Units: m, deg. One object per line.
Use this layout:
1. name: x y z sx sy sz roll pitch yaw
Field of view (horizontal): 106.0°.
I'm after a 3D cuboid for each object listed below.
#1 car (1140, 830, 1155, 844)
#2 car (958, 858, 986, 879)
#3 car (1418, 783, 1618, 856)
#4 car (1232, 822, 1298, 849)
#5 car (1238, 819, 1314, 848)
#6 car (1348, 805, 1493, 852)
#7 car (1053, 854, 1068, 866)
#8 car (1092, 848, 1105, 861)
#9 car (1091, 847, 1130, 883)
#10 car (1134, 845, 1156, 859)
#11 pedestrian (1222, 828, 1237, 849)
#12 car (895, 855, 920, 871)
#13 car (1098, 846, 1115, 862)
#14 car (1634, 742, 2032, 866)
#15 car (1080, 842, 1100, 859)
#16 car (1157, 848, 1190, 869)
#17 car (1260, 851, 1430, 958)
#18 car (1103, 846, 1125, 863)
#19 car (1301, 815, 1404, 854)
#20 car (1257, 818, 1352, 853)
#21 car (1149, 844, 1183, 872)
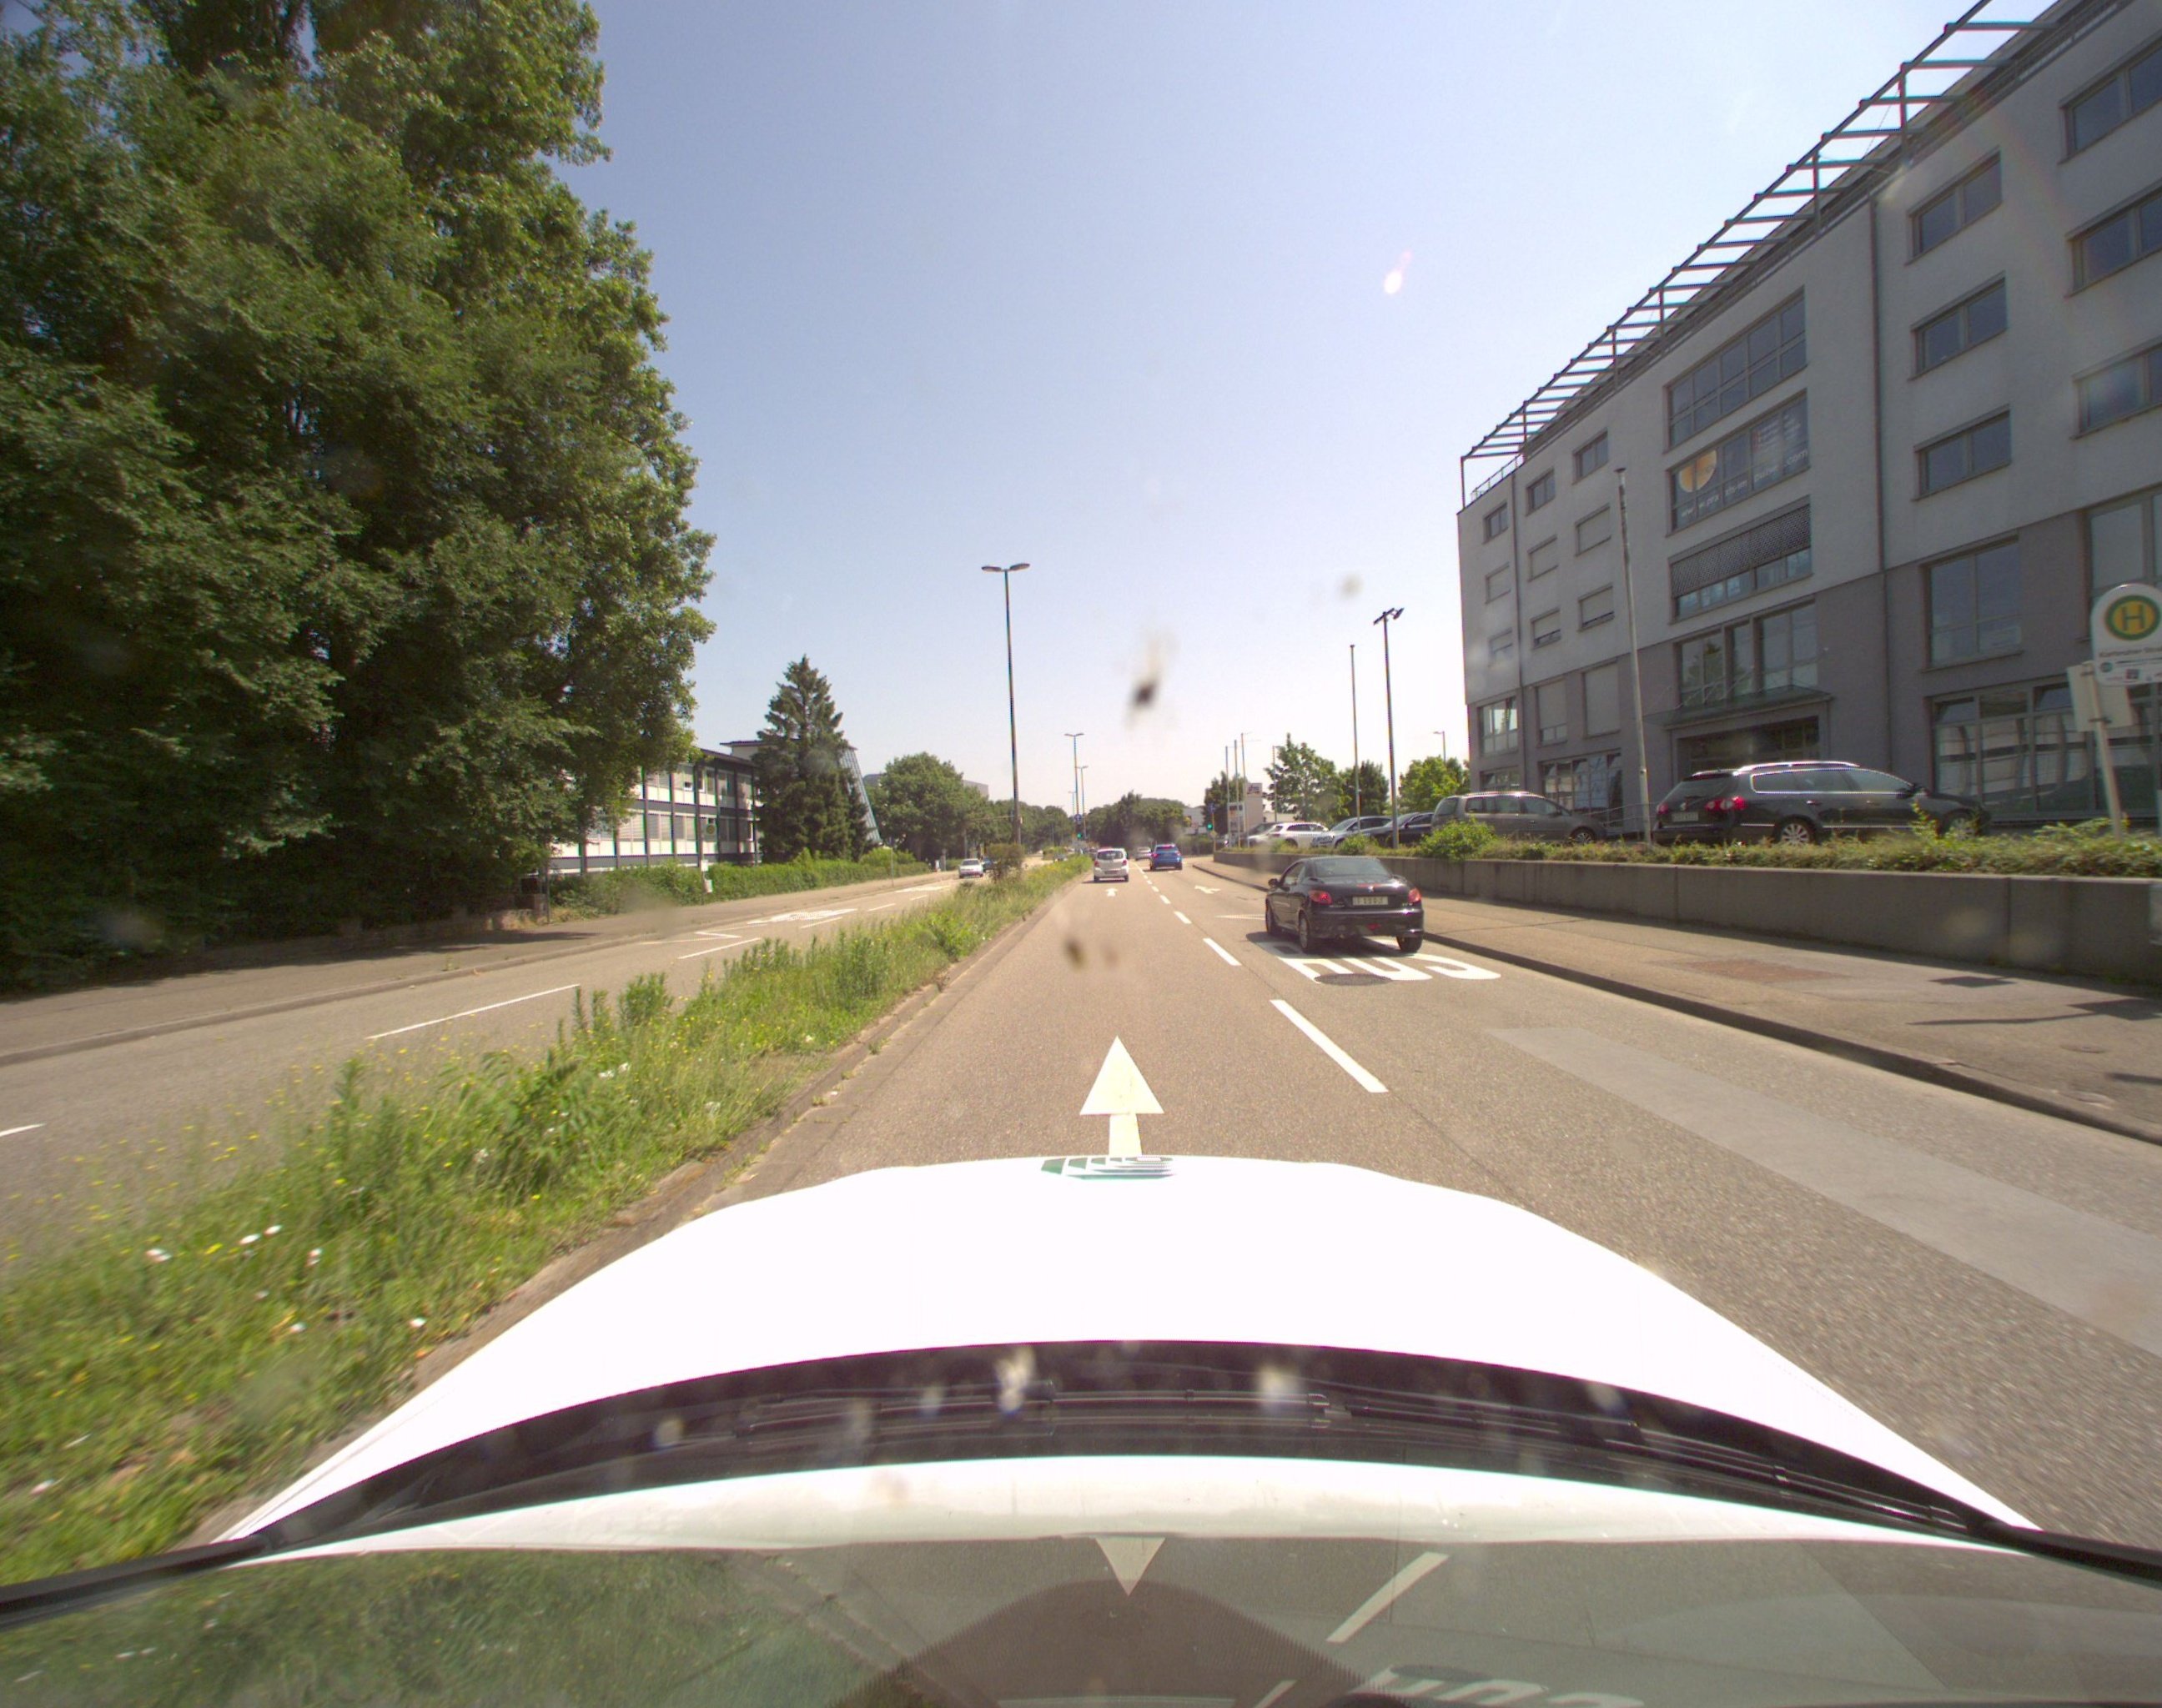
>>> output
1. car: 10.050 -2.616 123.337 1.765 2.013 3.988 -3 1 -2
2. car: -8.187 1.056 61.494 1.732 1.413 4.366 -3 0 -3
3. car: 11.577 -0.886 21.794 4.213 1.647 2.000 -3 0 0
4. car: 12.385 -1.253 54.954 3.975 1.544 1.999 -3 0 -1
5. car: 12.460 -1.288 52.146 4.334 1.544 1.999 -3 0 -1
6. car: 12.008 -0.875 29.019 4.307 1.368 2.000 -3 0 -1
7. car: -2.373 0.713 94.499 1.571 1.269 3.725 -3 0 -3
8. car: 2.534 0.050 119.676 1.791 1.690 4.001 -3 0 1
9. car: 1.420 0.491 38.352 1.741 1.520 3.749 -1 1 3
10. car: 6.821 -0.235 87.283 1.986 1.420 4.001 -3 0 1
11. pedestrian: 11.735 -1.198 64.367 0.767 1.608 1.092 -3 0 29
12. car: -18.966 0.947 89.159 1.851 1.596 4.314 -4 0 -1
13. car: 2.990 0.044 95.757 1.771 1.740 3.997 -3 0 -2
14. car: 11.805 -0.740 13.052 4.484 1.583 2.000 -3 0 0
15. car: 0.931 -0.385 84.273 1.815 1.661 3.996 -3 1 -3
16. car: 6.769 0.342 59.487 1.446 1.376 3.510 -3 0 21
17. car: 3.953 0.675 12.782 1.621 1.364 3.607 -1 1 2
18. car: 3.153 0.041 78.318 1.987 1.442 4.001 -3 0 1
19. car: 11.803 -0.838 35.480 3.930 1.452 1.755 -3 0 -17
20. car: 11.903 -0.979 43.586 4.519 1.544 2.000 -3 0 1
21. car: 5.176 0.216 50.108 1.820 1.580 3.608 -2 1 2
